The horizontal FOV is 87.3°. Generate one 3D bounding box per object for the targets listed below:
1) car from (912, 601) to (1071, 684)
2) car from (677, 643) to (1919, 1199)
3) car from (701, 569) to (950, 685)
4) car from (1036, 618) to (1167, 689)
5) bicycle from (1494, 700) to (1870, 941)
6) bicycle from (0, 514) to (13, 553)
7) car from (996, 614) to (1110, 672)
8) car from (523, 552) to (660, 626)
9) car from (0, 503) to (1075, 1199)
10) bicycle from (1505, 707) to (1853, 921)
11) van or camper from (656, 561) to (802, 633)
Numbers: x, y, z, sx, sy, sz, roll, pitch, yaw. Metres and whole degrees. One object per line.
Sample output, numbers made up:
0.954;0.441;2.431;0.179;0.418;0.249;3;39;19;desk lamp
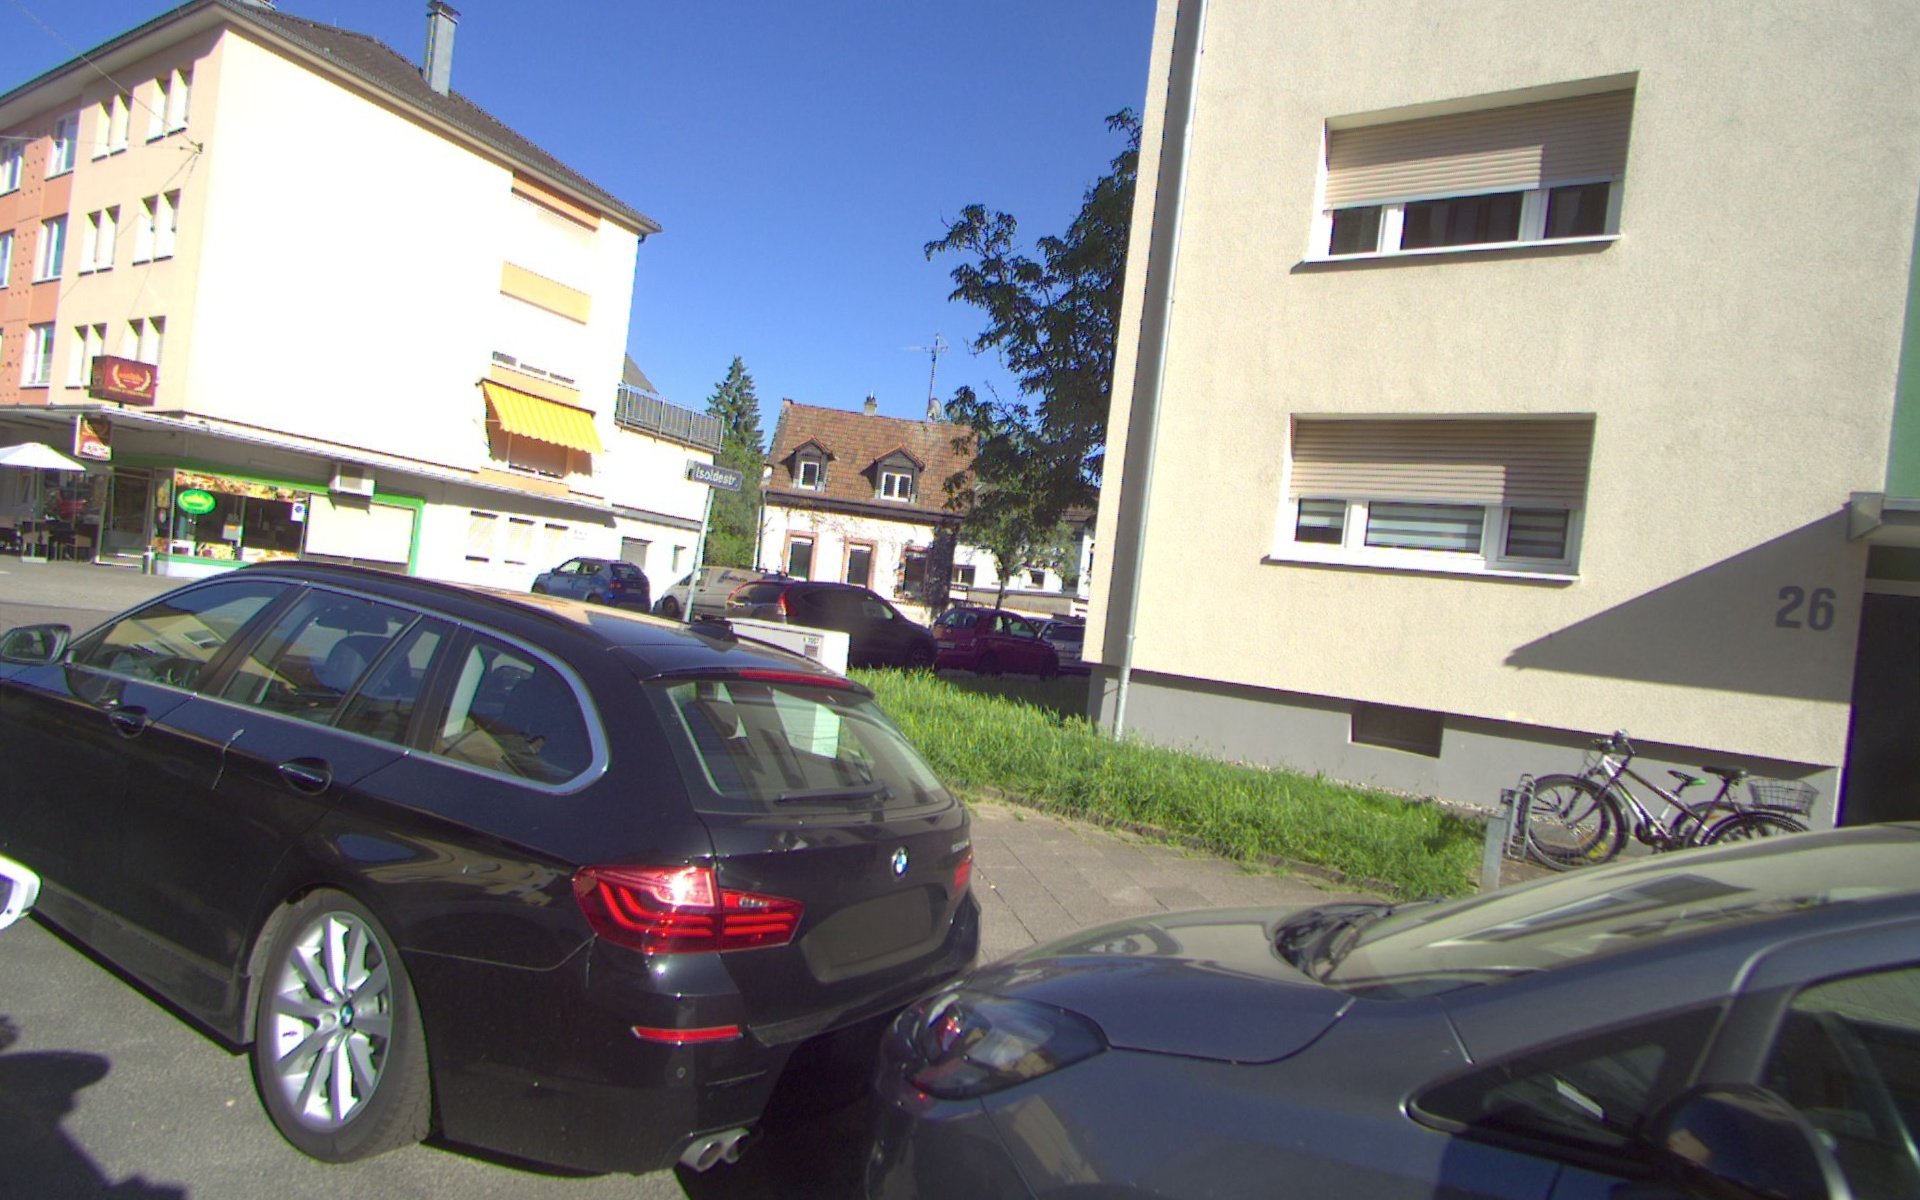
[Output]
0.759;0.969;21.938;1.474;1.490;3.599;6;-1;39;car
1.565;1.029;1.539;3.875;1.477;1.648;5;-2;32;car
-2.250;0.546;17.892;1.797;1.632;4.241;6;-1;38;car
3.691;1.409;25.761;1.474;1.514;3.798;6;-1;39;car
4.705;1.397;6.736;1.866;1.136;0.559;7;5;32;bicycle
-25.036;-1.768;25.166;0.661;0.979;1.812;6;-1;21;bicycle
3.321;1.523;35.150;1.797;1.632;4.240;6;-1;39;car
-10.131;-0.316;27.631;3.417;1.633;1.581;6;0;30;car
-2.162;0.579;3.763;4.697;1.541;1.857;5;-2;31;car
5.003;1.457;7.158;1.866;1.077;0.445;6;5;32;bicycle
-7.457;-0.106;32.346;4.401;1.835;1.775;6;0;30;van or camper
